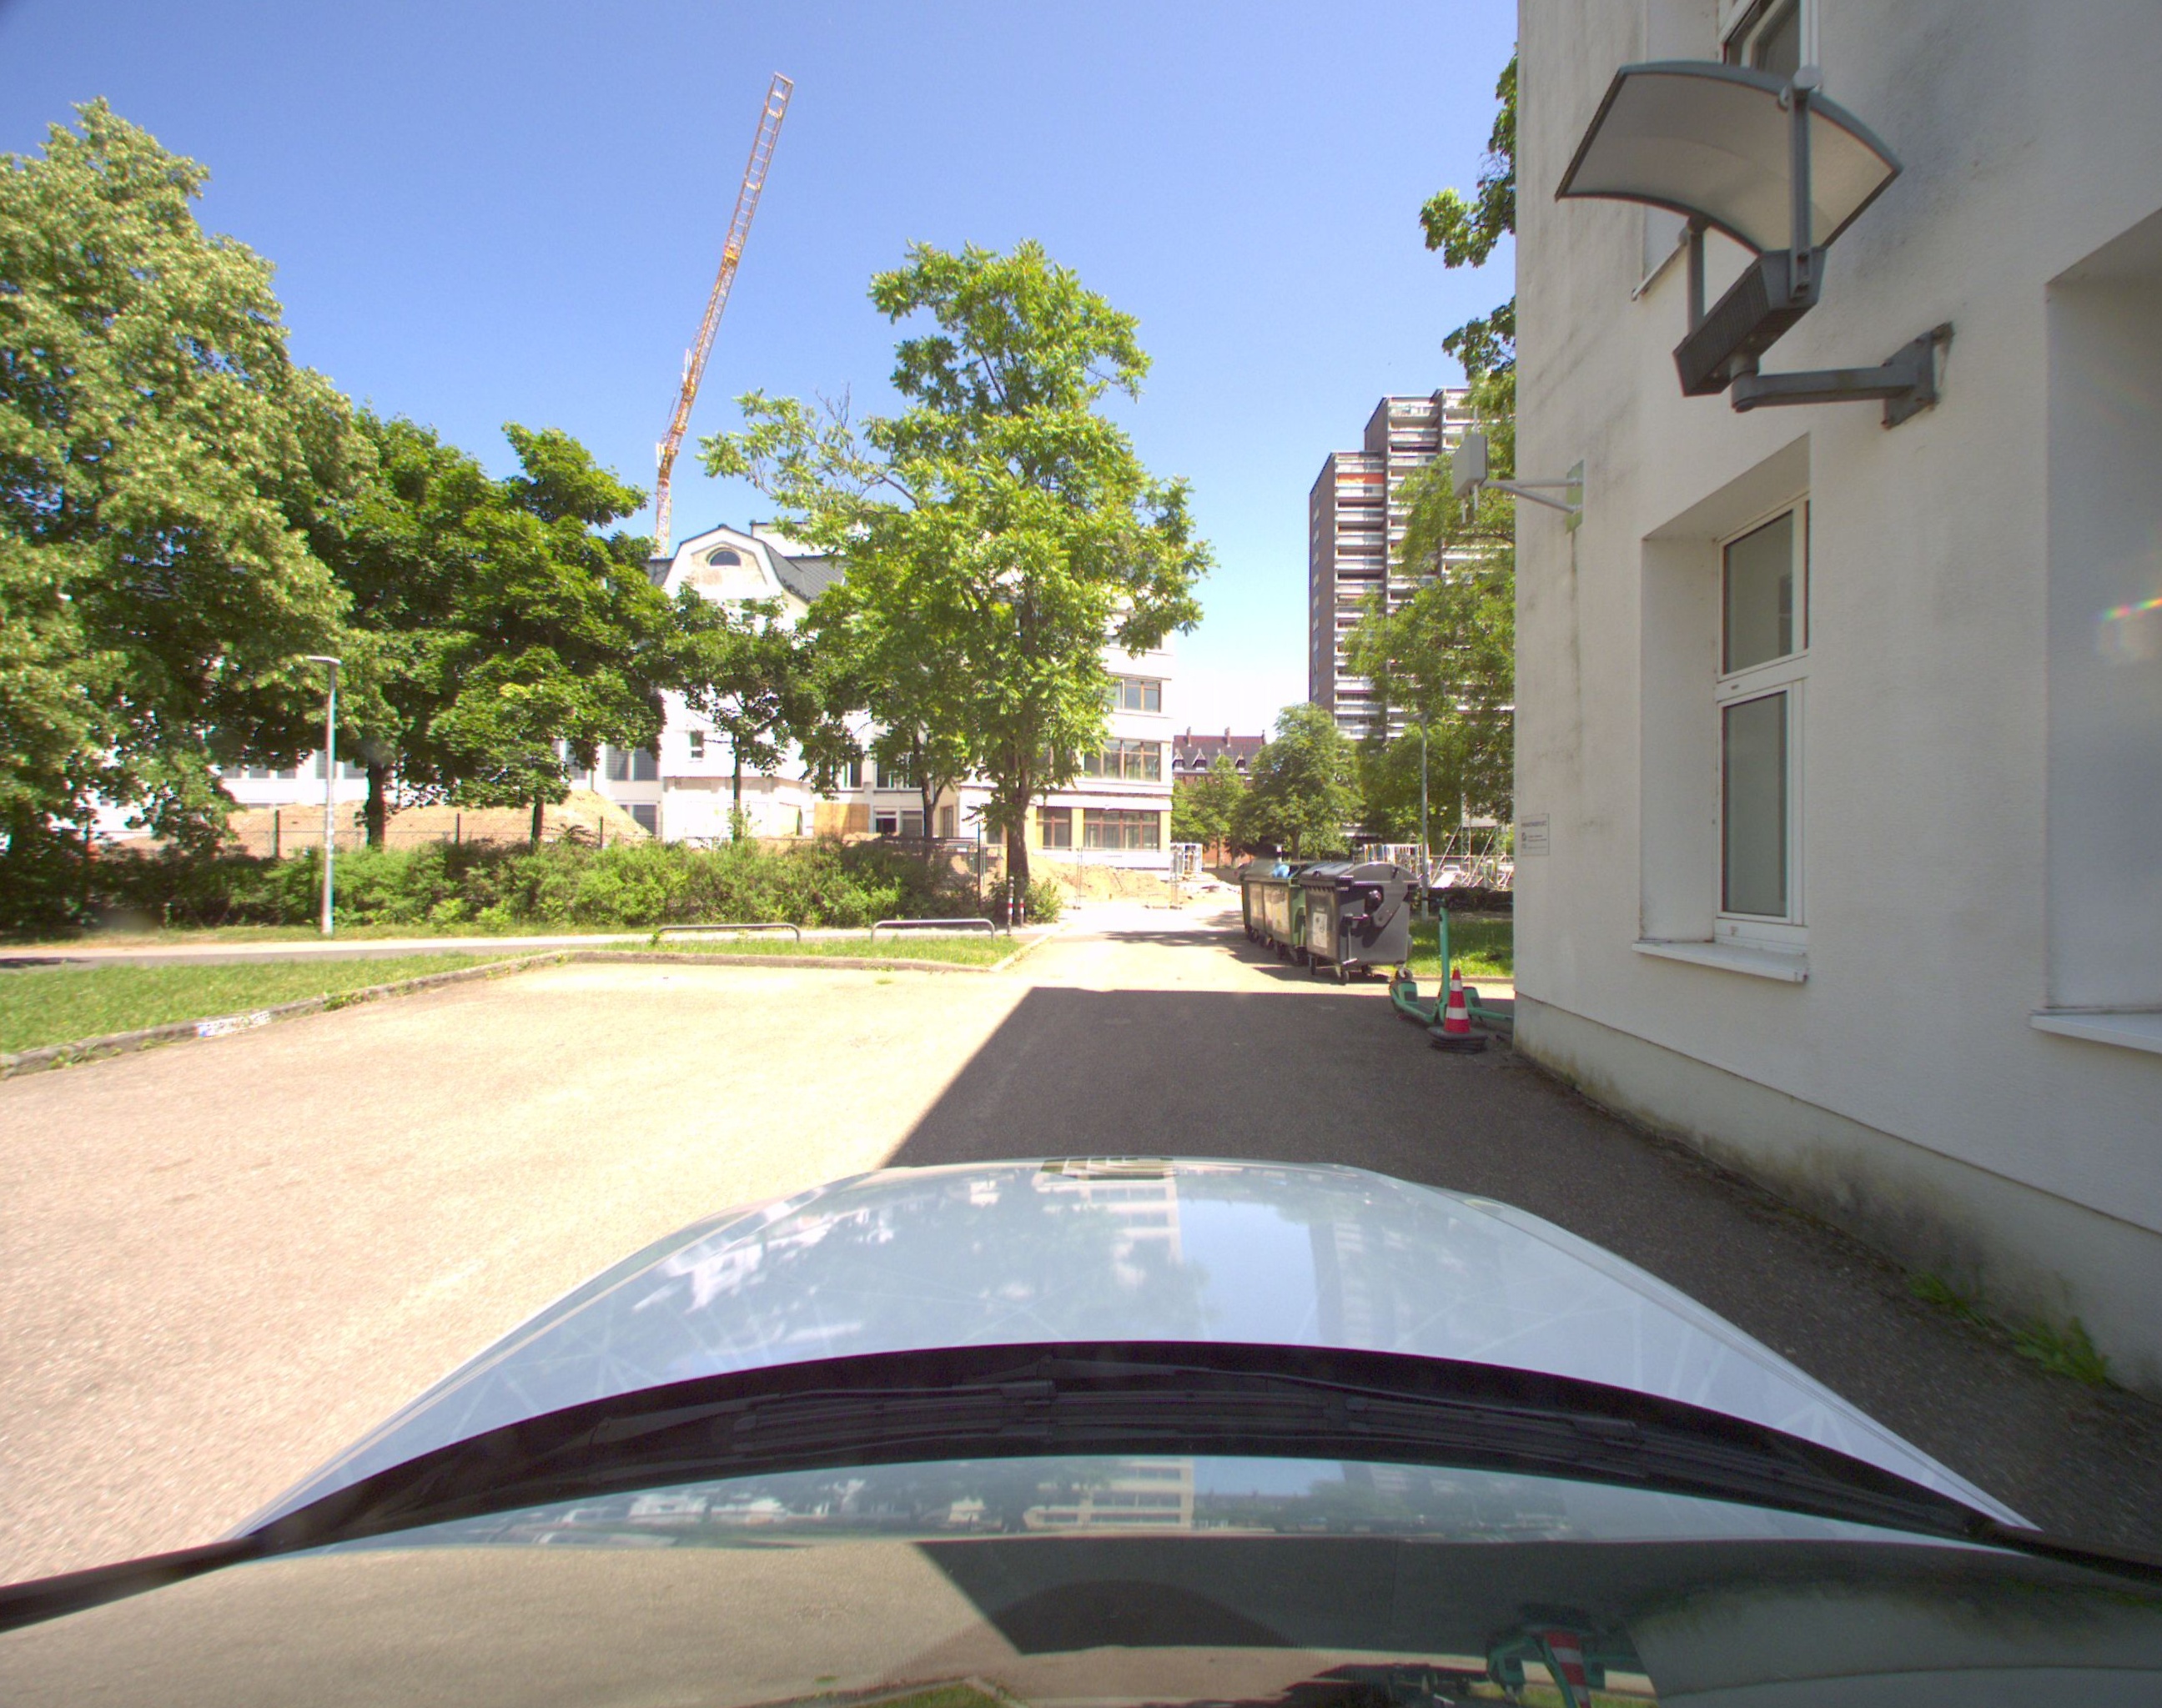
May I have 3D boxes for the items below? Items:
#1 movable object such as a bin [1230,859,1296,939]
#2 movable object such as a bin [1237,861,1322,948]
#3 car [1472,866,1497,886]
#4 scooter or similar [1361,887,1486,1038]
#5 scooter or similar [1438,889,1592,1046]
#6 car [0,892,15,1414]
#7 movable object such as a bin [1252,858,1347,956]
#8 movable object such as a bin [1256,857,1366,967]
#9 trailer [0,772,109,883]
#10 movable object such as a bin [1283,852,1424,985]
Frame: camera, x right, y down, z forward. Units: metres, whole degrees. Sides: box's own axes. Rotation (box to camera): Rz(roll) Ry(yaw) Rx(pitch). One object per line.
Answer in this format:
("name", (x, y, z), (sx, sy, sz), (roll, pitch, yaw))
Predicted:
("movable object such as a bin", (3.634, 0.867, 16.146), (1.170, 1.470, 1.338), (1, -1, 15))
("movable object such as a bin", (3.532, 0.872, 14.607), (1.175, 1.470, 1.311), (1, -1, -1))
("car", (30.921, 1.669, 62.461), (1.618, 1.387, 3.698), (1, -1, 24))
("scooter or similar", (3.011, 0.907, 7.284), (0.462, 1.174, 1.355), (1, 0, -4))
("scooter or similar", (3.692, 0.919, 7.025), (0.464, 1.174, 1.250), (1, -1, -13))
("car", (-5.242, 0.549, 1.111), (4.774, 1.911, 2.000), (0, 2, -1))
("movable object such as a bin", (3.496, 0.825, 13.165), (1.175, 1.470, 1.311), (1, -1, 0))
("movable object such as a bin", (3.289, 0.807, 11.789), (1.176, 1.470, 1.310), (1, -1, -2))
("trailer", (-37.387, -0.903, 26.784), (8.685, 3.421, 3.052), (1, -1, 12))
("movable object such as a bin", (3.305, 0.752, 10.049), (1.153, 1.505, 1.460), (2, -1, -5))
